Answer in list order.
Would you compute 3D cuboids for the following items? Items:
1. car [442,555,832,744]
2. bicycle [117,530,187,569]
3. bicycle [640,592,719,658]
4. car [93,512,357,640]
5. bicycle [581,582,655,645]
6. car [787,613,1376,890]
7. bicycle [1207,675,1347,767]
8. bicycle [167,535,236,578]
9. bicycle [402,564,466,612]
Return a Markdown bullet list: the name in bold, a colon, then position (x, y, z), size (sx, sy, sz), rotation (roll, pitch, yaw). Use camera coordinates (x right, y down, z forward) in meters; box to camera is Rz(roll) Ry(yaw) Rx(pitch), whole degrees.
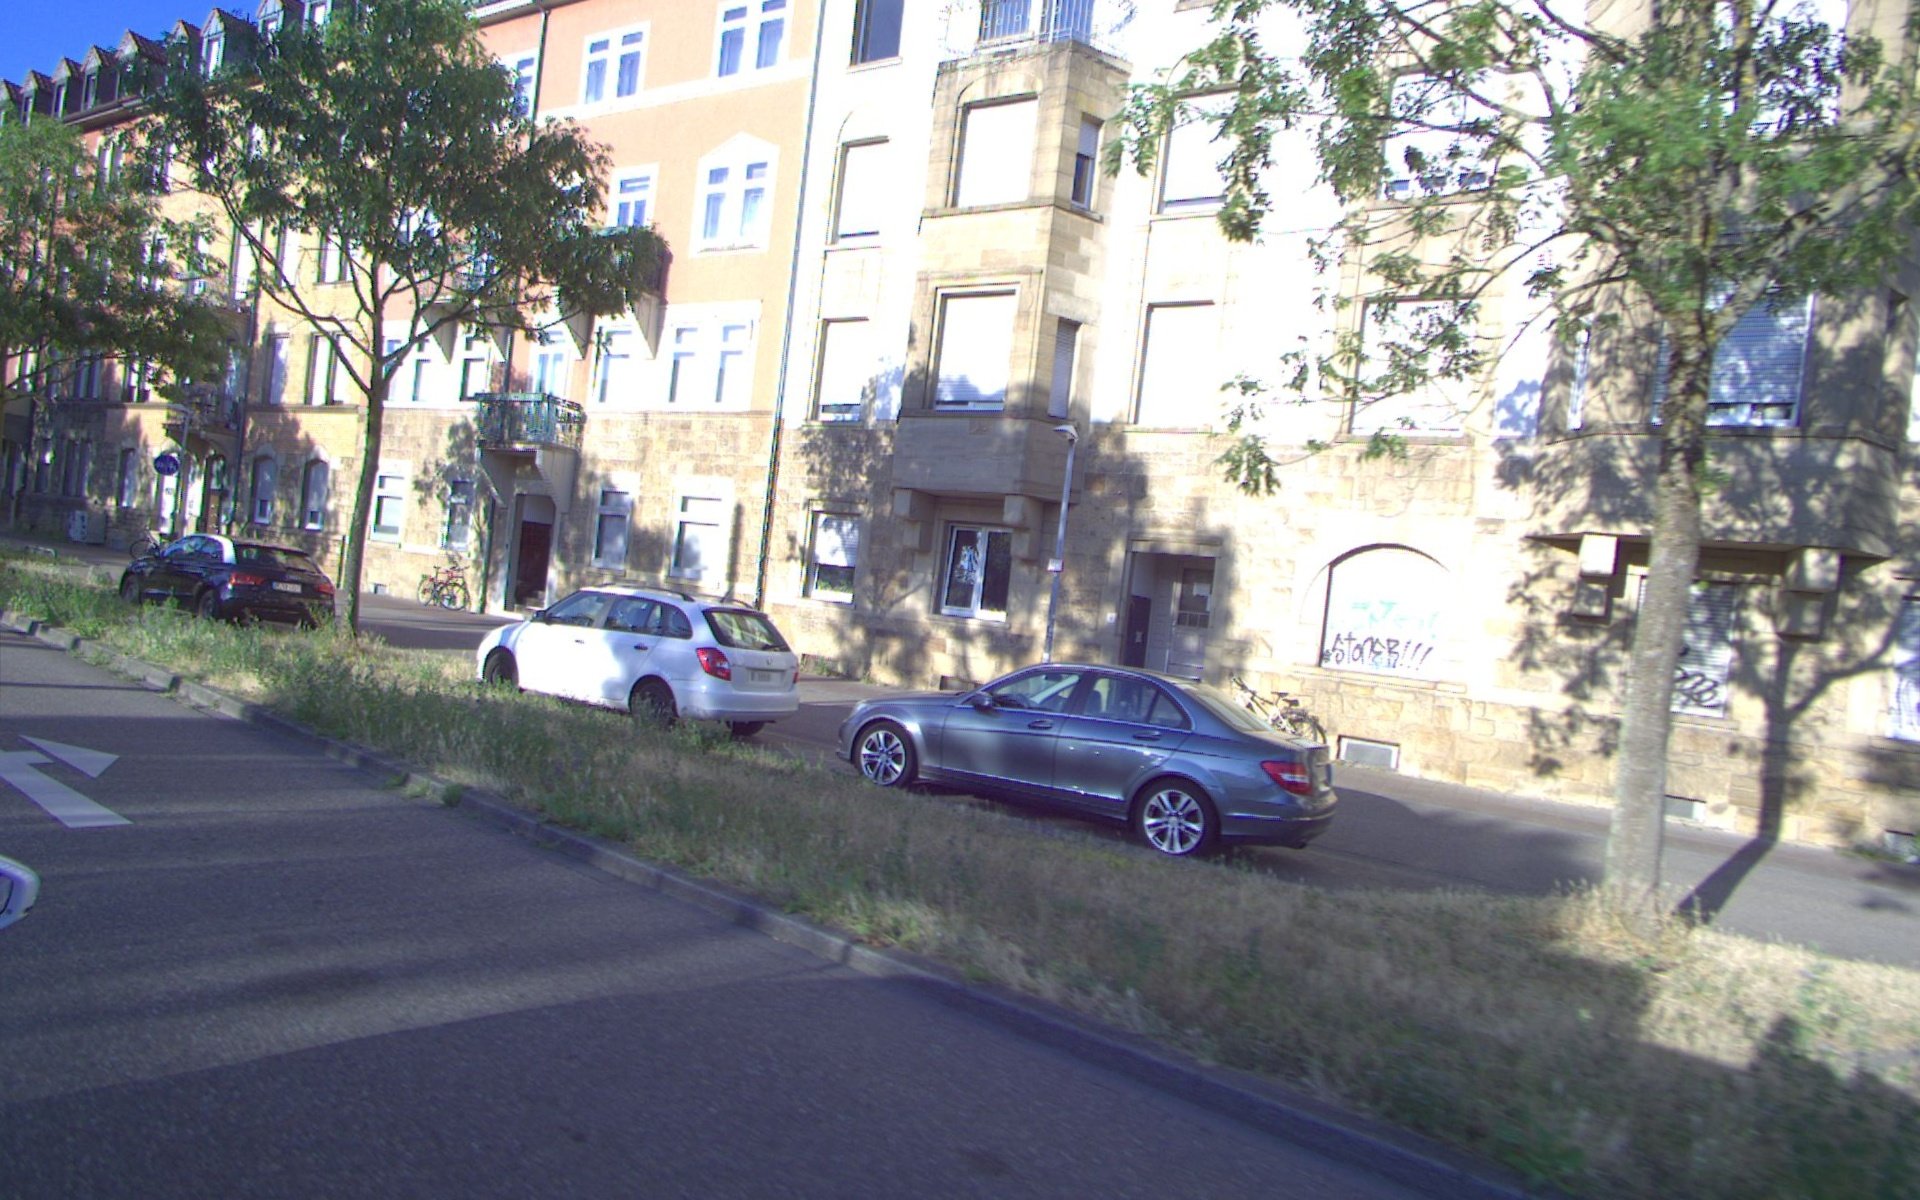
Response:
- **car**: position (-3.778, 0.541, 11.636), size (4.198, 1.528, 1.731), rotation (7, -3, 29)
- **bicycle**: position (-23.339, -1.461, 29.056), size (2.049, 0.928, 0.873), rotation (7, 1, 31)
- **bicycle**: position (-5.913, 0.511, 21.191), size (1.716, 1.182, 0.483), rotation (7, 5, 29)
- **car**: position (-11.847, -0.406, 16.169), size (4.215, 1.464, 1.709), rotation (7, -3, 30)
- **bicycle**: position (-7.528, 0.278, 22.107), size (1.716, 1.182, 0.483), rotation (7, 5, 29)
- **car**: position (1.026, 1.206, 9.171), size (4.824, 1.460, 1.951), rotation (7, -3, 29)
- **bicycle**: position (4.802, 1.812, 15.284), size (1.864, 1.087, 0.573), rotation (7, 1, 29)
- **bicycle**: position (-21.094, -1.220, 27.948), size (2.301, 0.960, 0.734), rotation (7, 1, 33)
- **bicycle**: position (-13.208, -0.303, 25.228), size (1.716, 1.018, 0.484), rotation (7, 0, 29)
